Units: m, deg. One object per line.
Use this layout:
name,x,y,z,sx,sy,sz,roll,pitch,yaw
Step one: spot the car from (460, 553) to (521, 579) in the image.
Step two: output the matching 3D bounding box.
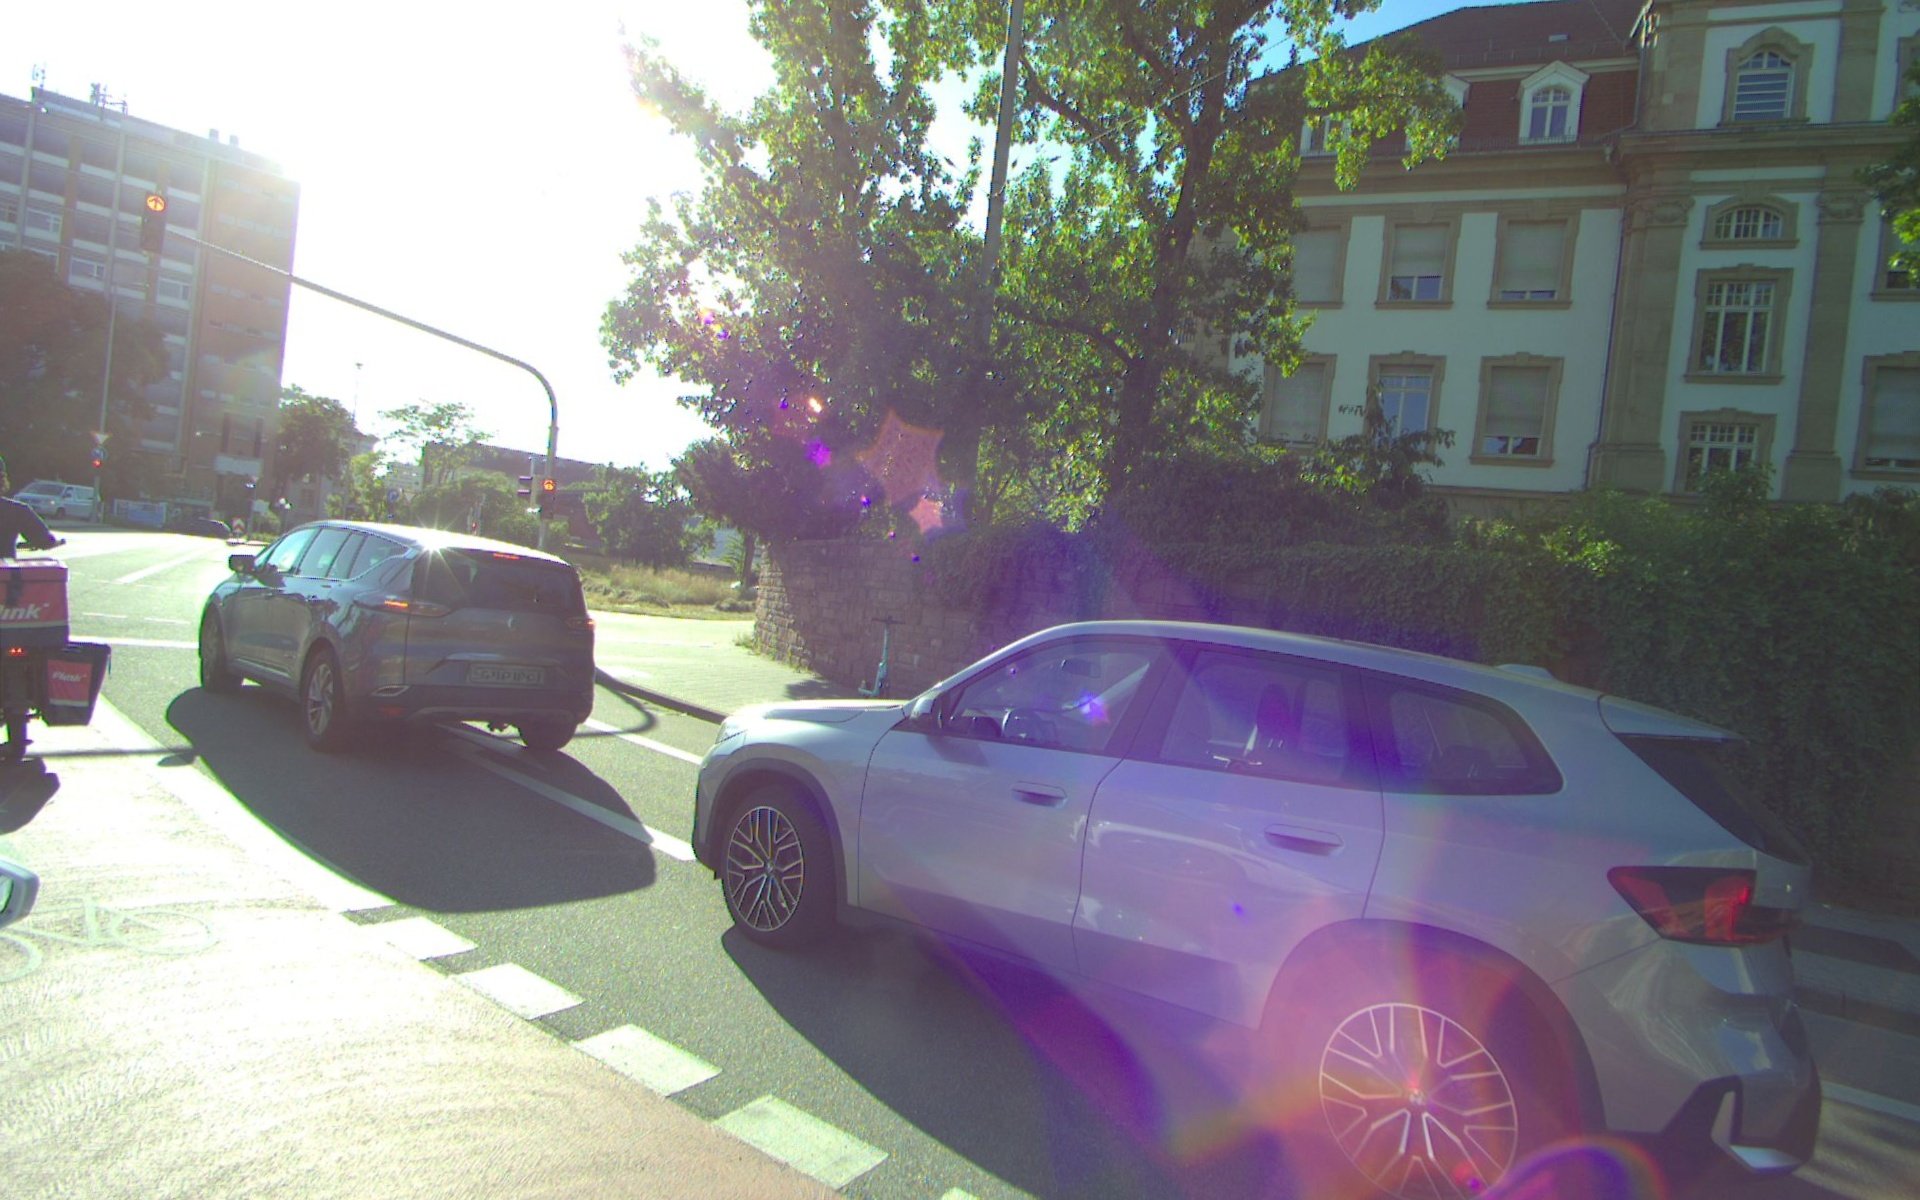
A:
car,-37.508,-2.718,80.459,4.338,1.549,1.794,6,1,-26

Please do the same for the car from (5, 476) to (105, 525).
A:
car,-47.046,-5.120,52.413,1.886,1.969,4.689,6,0,-17

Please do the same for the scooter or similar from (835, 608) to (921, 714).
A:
scooter or similar,-1.156,0.820,13.881,0.569,1.285,1.414,6,0,-27

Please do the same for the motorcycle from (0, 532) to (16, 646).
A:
motorcycle,-8.936,-0.081,8.920,0.611,1.110,2.334,8,-2,-41

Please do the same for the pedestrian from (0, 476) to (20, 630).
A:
pedestrian,-8.712,-0.300,8.747,0.585,1.617,1.013,8,-1,-41

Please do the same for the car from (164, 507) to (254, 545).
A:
car,-52.908,-5.190,71.012,4.647,1.969,1.903,7,0,-25

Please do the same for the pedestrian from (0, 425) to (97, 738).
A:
pedestrian,-6.217,-0.145,6.392,0.943,1.890,0.806,6,-1,40

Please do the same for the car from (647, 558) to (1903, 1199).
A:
car,0.825,0.884,4.242,4.263,1.612,1.788,6,-2,37

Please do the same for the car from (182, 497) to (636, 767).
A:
car,-4.838,0.164,8.554,4.307,1.709,1.830,6,-2,40

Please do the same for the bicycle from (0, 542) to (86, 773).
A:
bicycle,-5.992,0.257,6.177,2.340,1.185,0.553,6,-2,42
